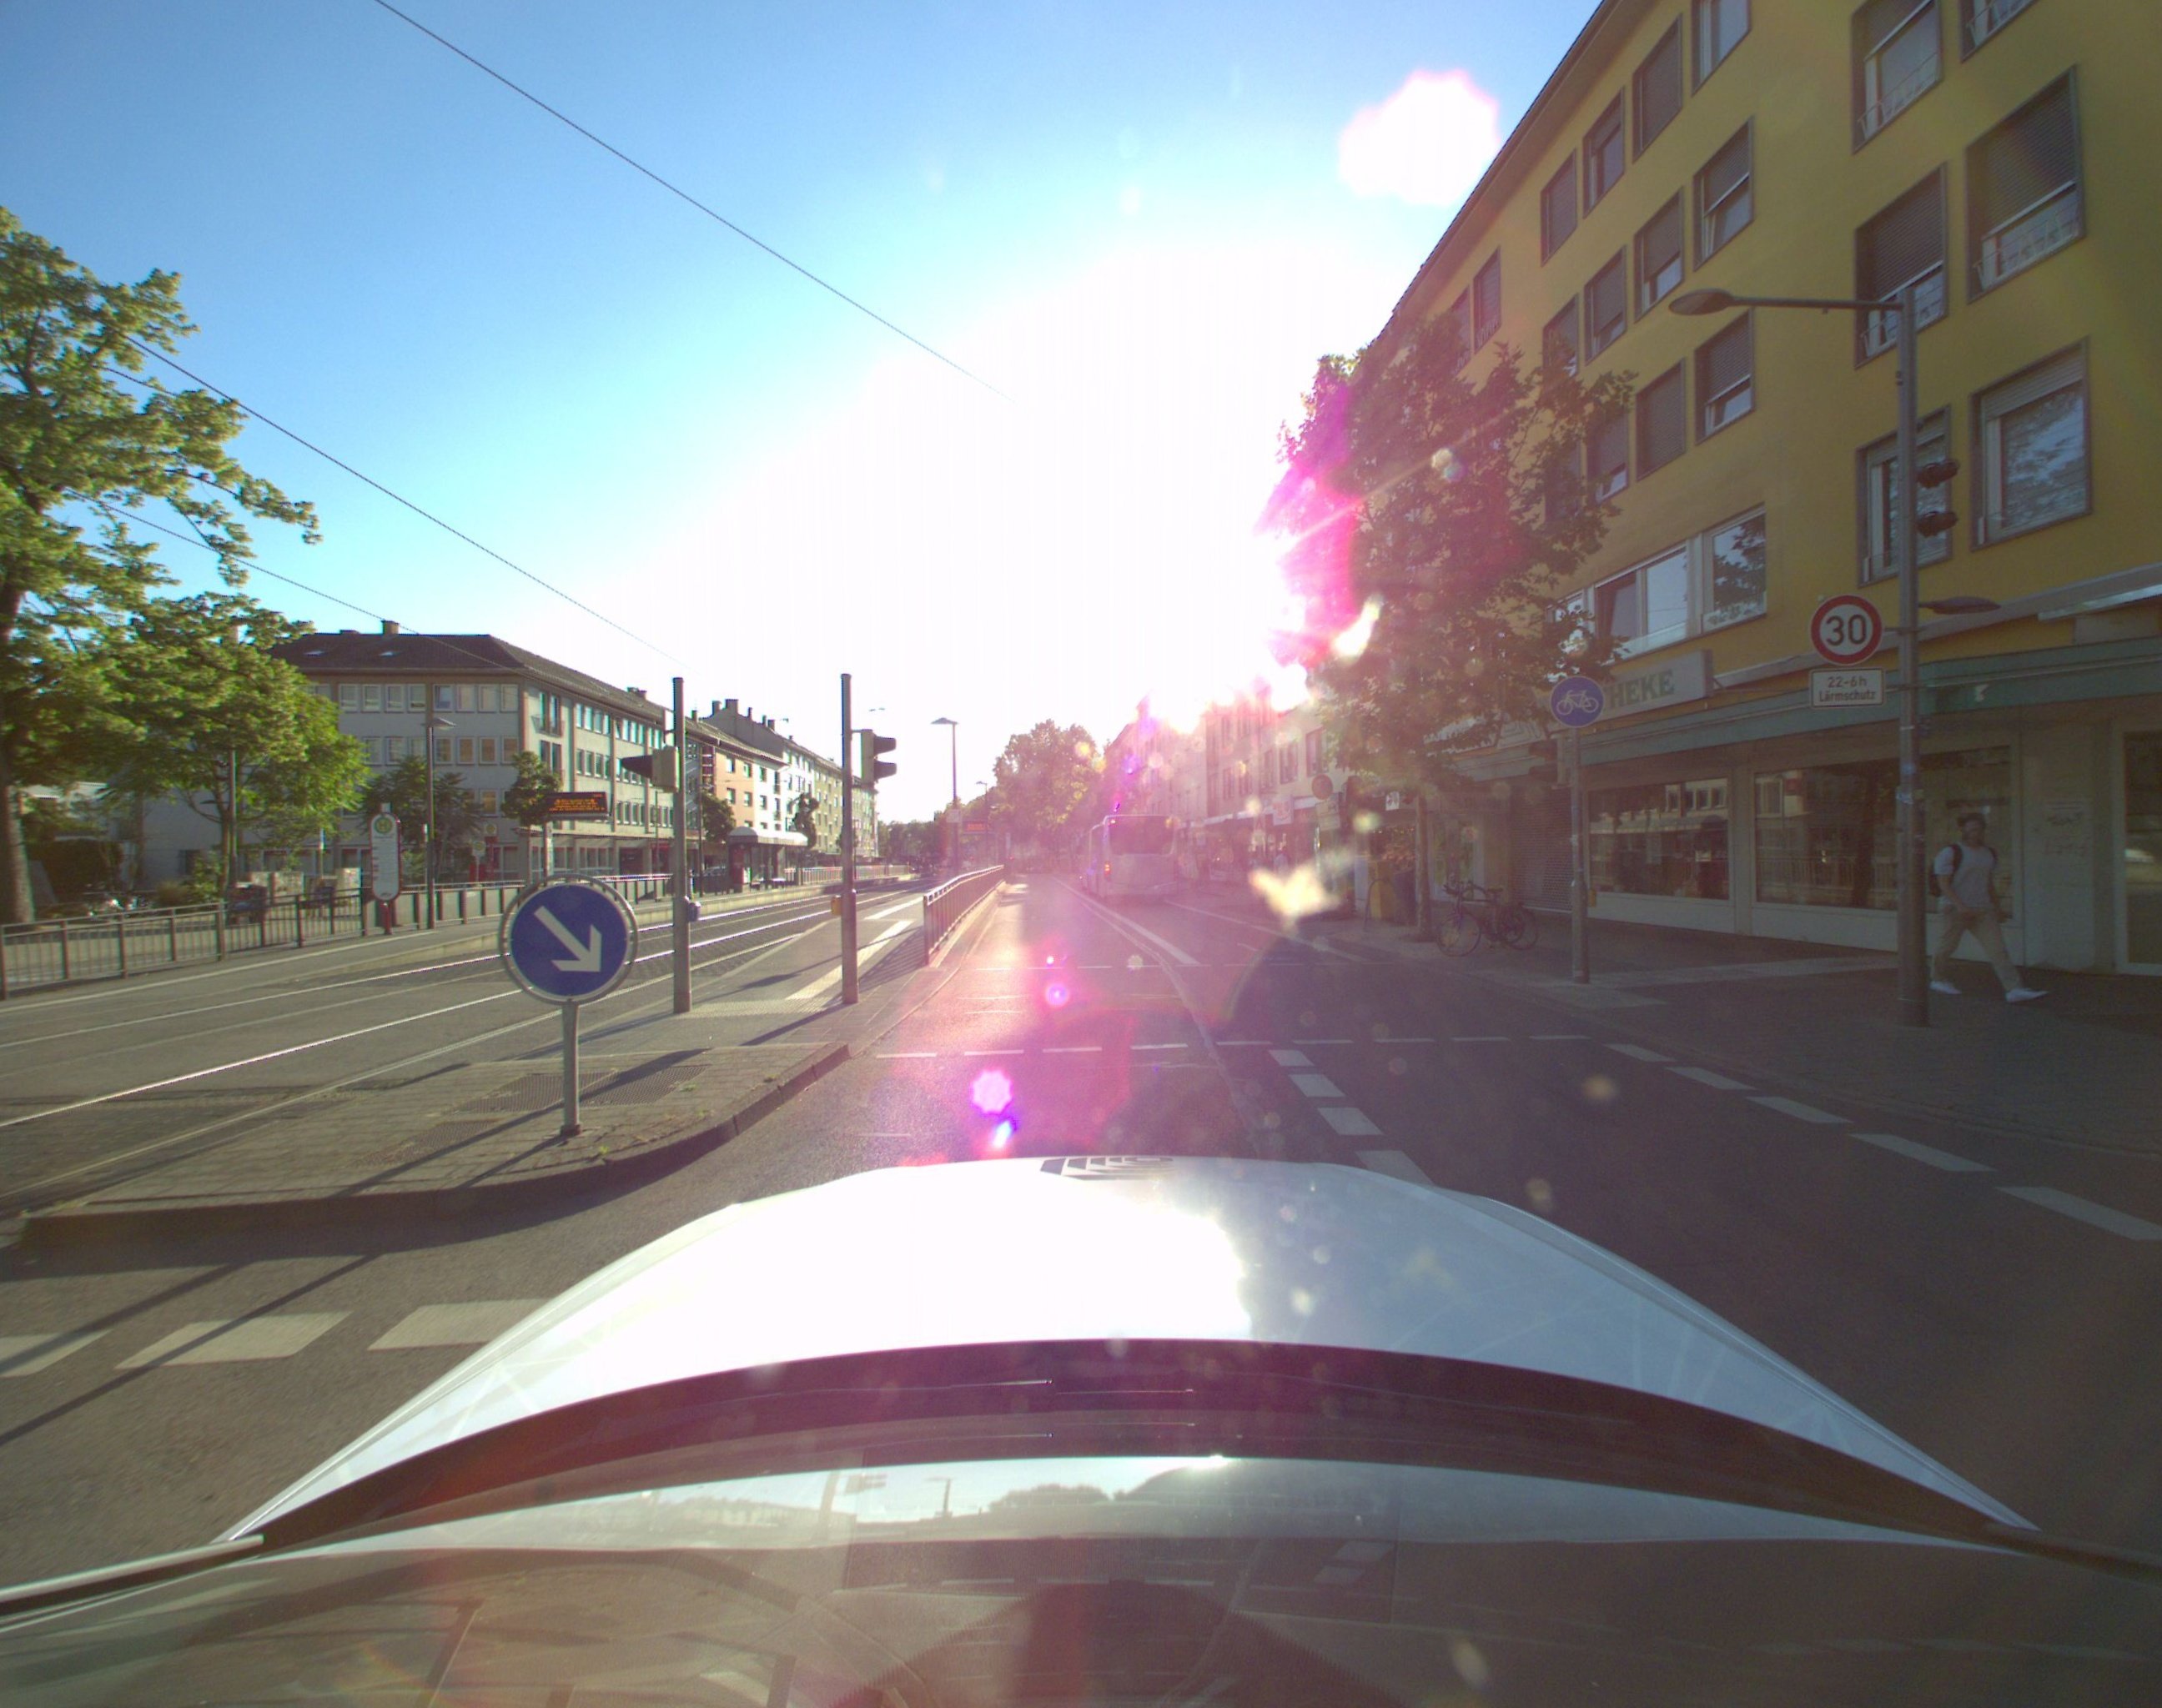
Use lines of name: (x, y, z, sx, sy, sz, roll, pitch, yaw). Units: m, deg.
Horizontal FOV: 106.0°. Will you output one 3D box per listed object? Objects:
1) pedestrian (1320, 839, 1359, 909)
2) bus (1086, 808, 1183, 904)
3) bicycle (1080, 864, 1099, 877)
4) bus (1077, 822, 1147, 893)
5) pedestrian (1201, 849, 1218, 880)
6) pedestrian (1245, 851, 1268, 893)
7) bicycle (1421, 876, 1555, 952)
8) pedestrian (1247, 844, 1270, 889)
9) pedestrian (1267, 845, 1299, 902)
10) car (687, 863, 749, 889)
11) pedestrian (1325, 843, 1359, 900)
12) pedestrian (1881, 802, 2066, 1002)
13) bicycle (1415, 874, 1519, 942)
pedestrian: (6.850, 0.513, 21.606, 0.722, 1.807, 0.765, -1, -1, -4)
bus: (1.786, 0.098, 31.350, 2.690, 3.118, 9.371, 0, 0, -3)
bicycle: (0.838, 1.652, 81.846, 1.881, 1.077, 0.754, -5, 0, -1)
bus: (1.360, 0.171, 40.551, 2.690, 3.118, 9.060, 0, 0, -3)
pedestrian: (6.955, 0.581, 44.021, 0.722, 1.632, 0.765, -1, -1, -4)
pedestrian: (6.685, 0.680, 30.970, 0.609, 1.578, 0.850, -1, -1, -4)
bicycle: (6.178, 0.899, 12.390, 1.796, 1.008, 0.540, -3, 0, -7)
pedestrian: (7.392, 0.528, 33.984, 0.722, 1.840, 0.765, -1, -1, -4)
pedestrian: (6.377, 0.611, 25.750, 0.722, 1.779, 0.765, -1, -1, -4)
car: (-25.243, 1.503, 56.708, 1.748, 1.679, 3.533, -1, 0, 34)
pedestrian: (8.119, 0.546, 25.359, 0.722, 1.723, 0.765, -1, -1, -4)
pedestrian: (8.478, 0.431, 7.781, 0.742, 1.780, 0.893, -1, -1, -4)
bicycle: (6.142, 0.850, 12.964, 1.481, 1.008, 0.453, -1, 0, -7)
